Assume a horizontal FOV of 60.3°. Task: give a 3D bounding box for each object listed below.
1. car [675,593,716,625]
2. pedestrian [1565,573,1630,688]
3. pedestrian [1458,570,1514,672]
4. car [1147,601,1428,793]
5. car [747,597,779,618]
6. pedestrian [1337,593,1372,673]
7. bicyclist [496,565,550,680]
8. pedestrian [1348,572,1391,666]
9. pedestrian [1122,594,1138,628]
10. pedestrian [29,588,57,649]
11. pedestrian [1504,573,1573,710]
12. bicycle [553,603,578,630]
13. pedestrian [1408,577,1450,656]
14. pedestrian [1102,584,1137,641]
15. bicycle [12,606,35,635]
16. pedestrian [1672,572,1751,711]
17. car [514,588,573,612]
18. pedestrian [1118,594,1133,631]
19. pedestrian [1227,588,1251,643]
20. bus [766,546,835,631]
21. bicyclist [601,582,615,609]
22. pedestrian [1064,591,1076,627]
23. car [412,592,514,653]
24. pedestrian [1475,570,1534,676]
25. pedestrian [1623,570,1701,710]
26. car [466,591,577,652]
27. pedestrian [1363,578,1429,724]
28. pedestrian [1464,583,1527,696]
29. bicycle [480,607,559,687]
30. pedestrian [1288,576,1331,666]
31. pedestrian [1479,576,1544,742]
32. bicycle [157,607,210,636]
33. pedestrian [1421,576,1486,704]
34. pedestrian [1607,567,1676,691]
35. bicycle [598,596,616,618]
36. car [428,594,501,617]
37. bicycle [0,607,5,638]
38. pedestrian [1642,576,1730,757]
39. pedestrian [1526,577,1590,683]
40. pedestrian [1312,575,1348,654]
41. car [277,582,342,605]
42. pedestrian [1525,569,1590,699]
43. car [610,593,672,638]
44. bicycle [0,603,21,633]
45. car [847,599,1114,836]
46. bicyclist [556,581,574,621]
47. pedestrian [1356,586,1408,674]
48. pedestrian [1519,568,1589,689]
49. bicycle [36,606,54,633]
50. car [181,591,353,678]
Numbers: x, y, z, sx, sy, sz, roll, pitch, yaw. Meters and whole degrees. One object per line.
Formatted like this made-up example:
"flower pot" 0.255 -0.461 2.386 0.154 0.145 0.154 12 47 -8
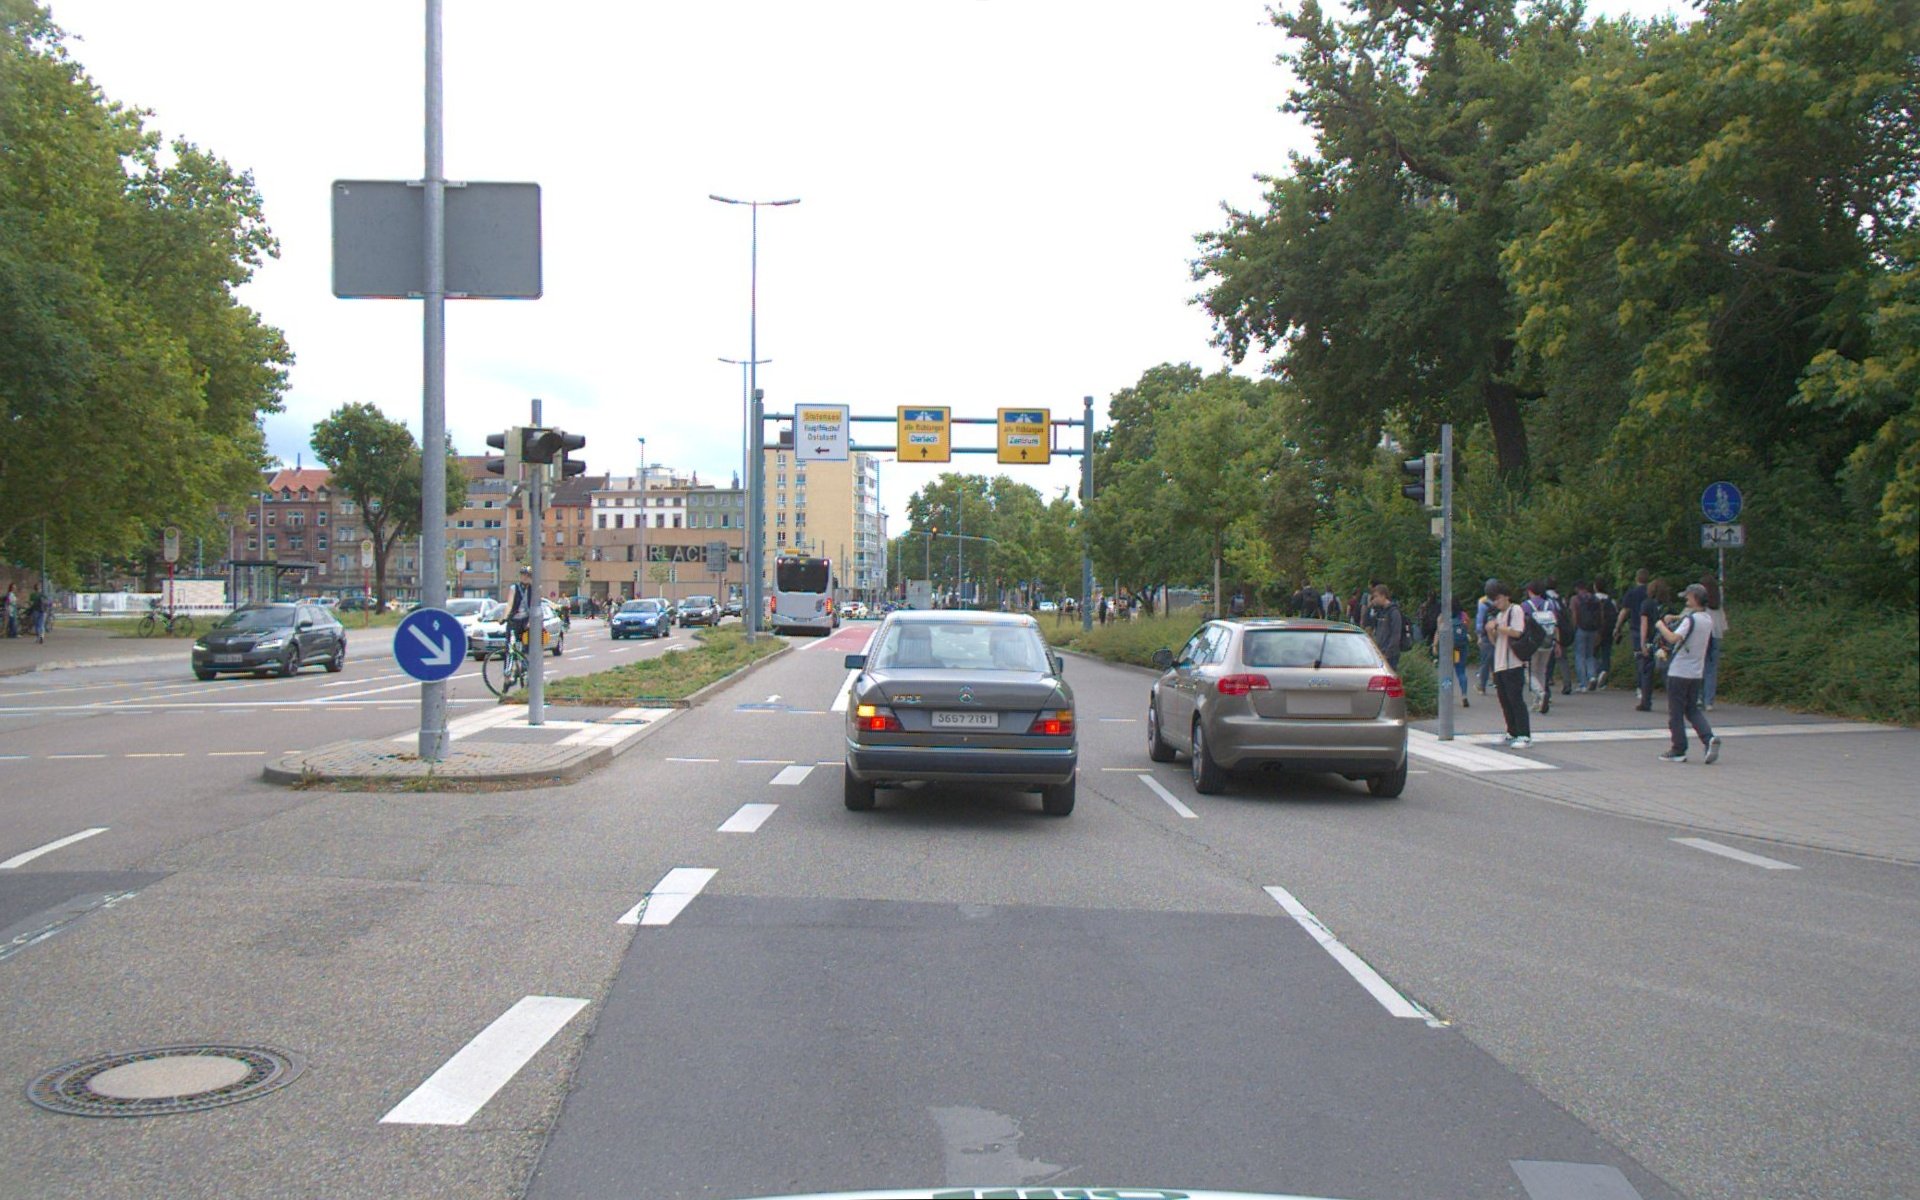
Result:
"car" -13.130 0.438 82.280 1.540 1.515 3.635 -1 0 -2
"pedestrian" 9.706 0.458 25.194 0.644 1.729 0.779 0 0 -5
"pedestrian" 9.224 0.360 29.017 0.707 1.775 0.812 0 0 -3
"car" 2.777 0.766 14.823 1.689 1.483 3.735 0 0 -2
"car" -14.407 0.535 121.128 1.764 1.515 4.289 0 0 1
"pedestrian" 8.376 0.693 35.133 0.544 1.684 0.753 0 0 -3
"bicyclist" -6.194 0.308 23.455 0.560 1.601 0.699 0 0 1
"pedestrian" 8.132 0.371 32.860 0.643 1.853 0.812 0 0 -3
"pedestrian" 7.566 0.479 73.429 0.643 1.496 0.562 0 0 14
"pedestrian" -25.829 0.532 46.587 0.551 1.697 0.623 1 -2 -20
"pedestrian" 7.642 0.532 21.871 0.612 1.776 0.779 0 0 -5
"bicycle" -18.115 0.744 75.966 0.605 1.238 2.045 0 0 2
"pedestrian" 9.581 0.334 33.804 0.623 1.611 0.785 0 0 -3
"pedestrian" 5.326 0.402 55.133 0.915 1.862 0.886 0 0 24
"bicycle" -30.096 0.665 53.185 0.435 0.893 1.609 3 -1 -24
"pedestrian" 9.772 0.529 21.517 0.644 1.776 0.779 0 0 -5
"car" -29.175 0.012 115.830 3.784 1.544 1.657 2 0 -8
"pedestrian" 7.793 0.573 77.954 0.632 1.743 0.562 0 0 12
"pedestrian" 8.718 0.481 51.671 0.575 1.712 0.748 0 0 -3
"bus" -6.849 -0.468 71.583 2.776 3.449 8.175 0 0 -5
"bicyclist" -18.810 -0.228 88.286 0.568 1.444 0.811 0 0 -1
"pedestrian" 6.173 0.502 92.826 0.602 2.049 0.597 1 0 -4
"car" -14.364 0.614 48.069 1.827 1.681 4.419 0 0 -3
"pedestrian" 8.929 0.370 27.127 0.644 1.719 0.841 0 0 -5
"pedestrian" 9.060 0.510 21.362 0.644 1.776 0.779 0 0 -5
"car" -11.490 0.538 43.625 1.764 1.515 4.289 0 0 0
"pedestrian" 5.350 0.613 20.314 0.589 1.765 0.654 0 0 -5
"pedestrian" 8.113 0.591 25.065 0.644 1.677 0.811 0 0 -5
"bicycle" -6.200 0.641 23.374 0.561 1.074 1.926 0 0 1
"pedestrian" 7.366 0.436 34.869 0.679 1.853 0.954 0 0 -3
"pedestrian" 5.981 0.627 17.941 0.445 1.765 0.636 0 0 -5
"bicycle" -25.178 0.686 53.687 0.460 0.935 2.340 0 0 5
"pedestrian" 6.984 0.550 23.420 0.644 1.776 0.779 0 0 -5
"pedestrian" 9.953 0.417 24.179 0.644 1.776 0.779 0 0 -5
"bicycle" -18.827 0.376 88.254 0.570 1.191 1.964 0 0 0
"car" -34.518 0.382 115.241 4.581 1.501 1.657 2 0 -8
"bicycle" -28.523 0.663 48.686 0.410 0.893 1.546 3 -1 -20
"pedestrian" 7.023 0.634 16.019 0.535 1.716 0.636 0 0 -5
"pedestrian" 9.817 0.483 27.173 0.644 1.696 0.970 0 0 -5
"pedestrian" 8.333 0.314 37.280 0.606 1.766 0.814 0 0 -3
"car" -46.575 -0.473 118.436 4.077 1.678 1.643 0 0 -9
"pedestrian" 8.306 0.467 23.017 0.570 1.776 0.789 0 0 -5
"car" -11.889 0.550 61.833 1.766 1.537 4.101 0 1 -4
"bicycle" -29.188 0.551 50.798 0.341 0.893 1.513 3 -1 -20
"car" 0.047 0.765 12.828 1.726 1.515 4.169 0 0 -3
"bicyclist" -18.125 0.032 75.973 0.605 1.813 0.811 0 0 2
"pedestrian" 7.986 0.558 31.338 0.760 1.630 0.812 0 0 -3
"pedestrian" 9.034 0.425 25.196 0.644 1.797 0.957 -1 0 -5
"bicycle" -32.078 0.675 57.987 0.475 0.923 1.607 0 0 -25
"car" -14.014 0.646 33.739 1.860 1.644 4.739 0 0 -5
